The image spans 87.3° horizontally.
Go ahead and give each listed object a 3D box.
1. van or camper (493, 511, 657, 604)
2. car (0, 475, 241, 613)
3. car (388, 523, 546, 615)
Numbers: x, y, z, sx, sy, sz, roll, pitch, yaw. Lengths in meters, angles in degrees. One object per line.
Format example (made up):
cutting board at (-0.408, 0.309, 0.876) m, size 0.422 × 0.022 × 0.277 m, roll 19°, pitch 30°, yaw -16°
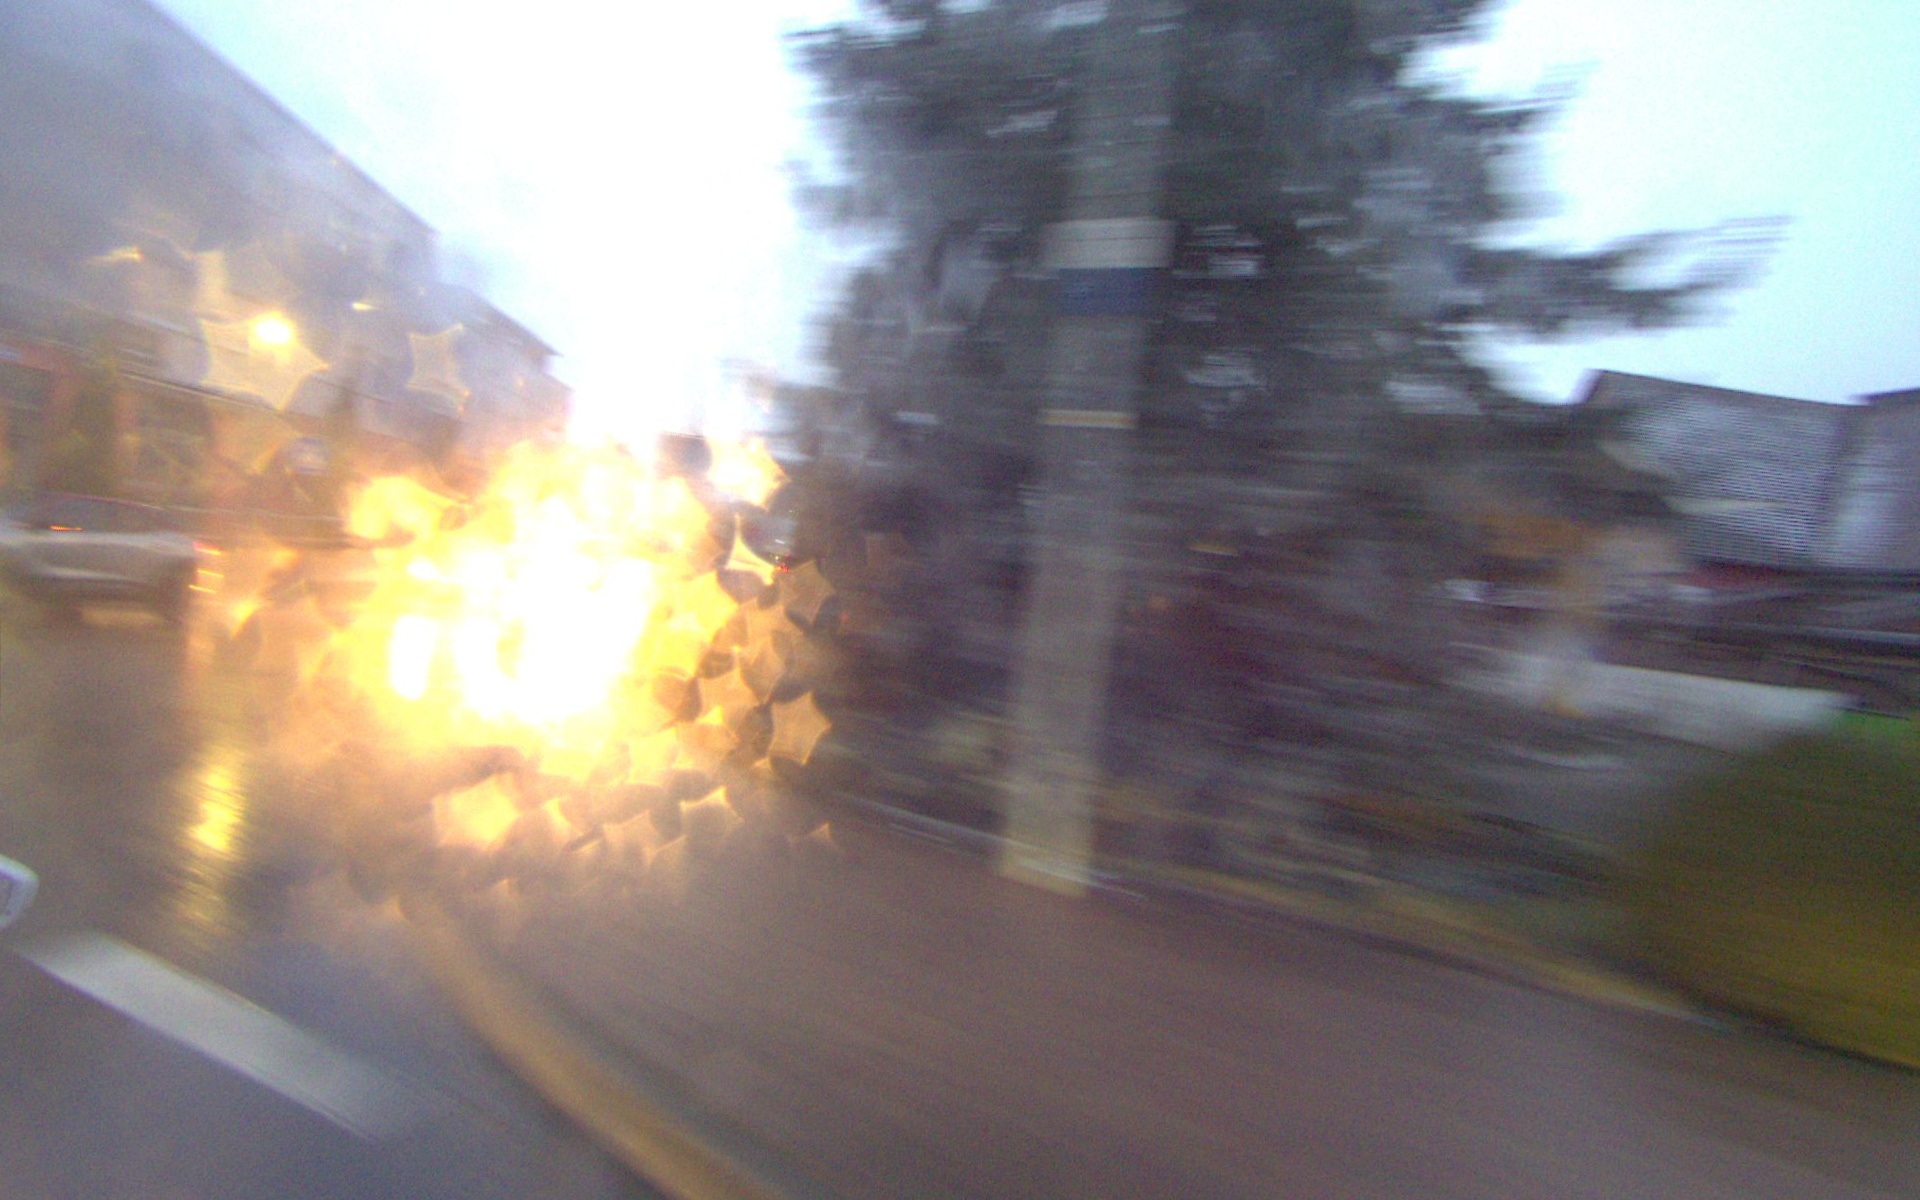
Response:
van or camper at (-12.640, -1.277, 33.994) m, size 2.412 × 2.360 × 9.179 m, roll 9°, pitch 0°, yaw -5°
car at (-11.081, -0.699, 11.932) m, size 1.764 × 1.458 × 4.185 m, roll 8°, pitch 0°, yaw 4°
car at (-11.765, -0.683, 24.370) m, size 2.012 × 1.809 × 4.126 m, roll 7°, pitch -1°, yaw -7°
